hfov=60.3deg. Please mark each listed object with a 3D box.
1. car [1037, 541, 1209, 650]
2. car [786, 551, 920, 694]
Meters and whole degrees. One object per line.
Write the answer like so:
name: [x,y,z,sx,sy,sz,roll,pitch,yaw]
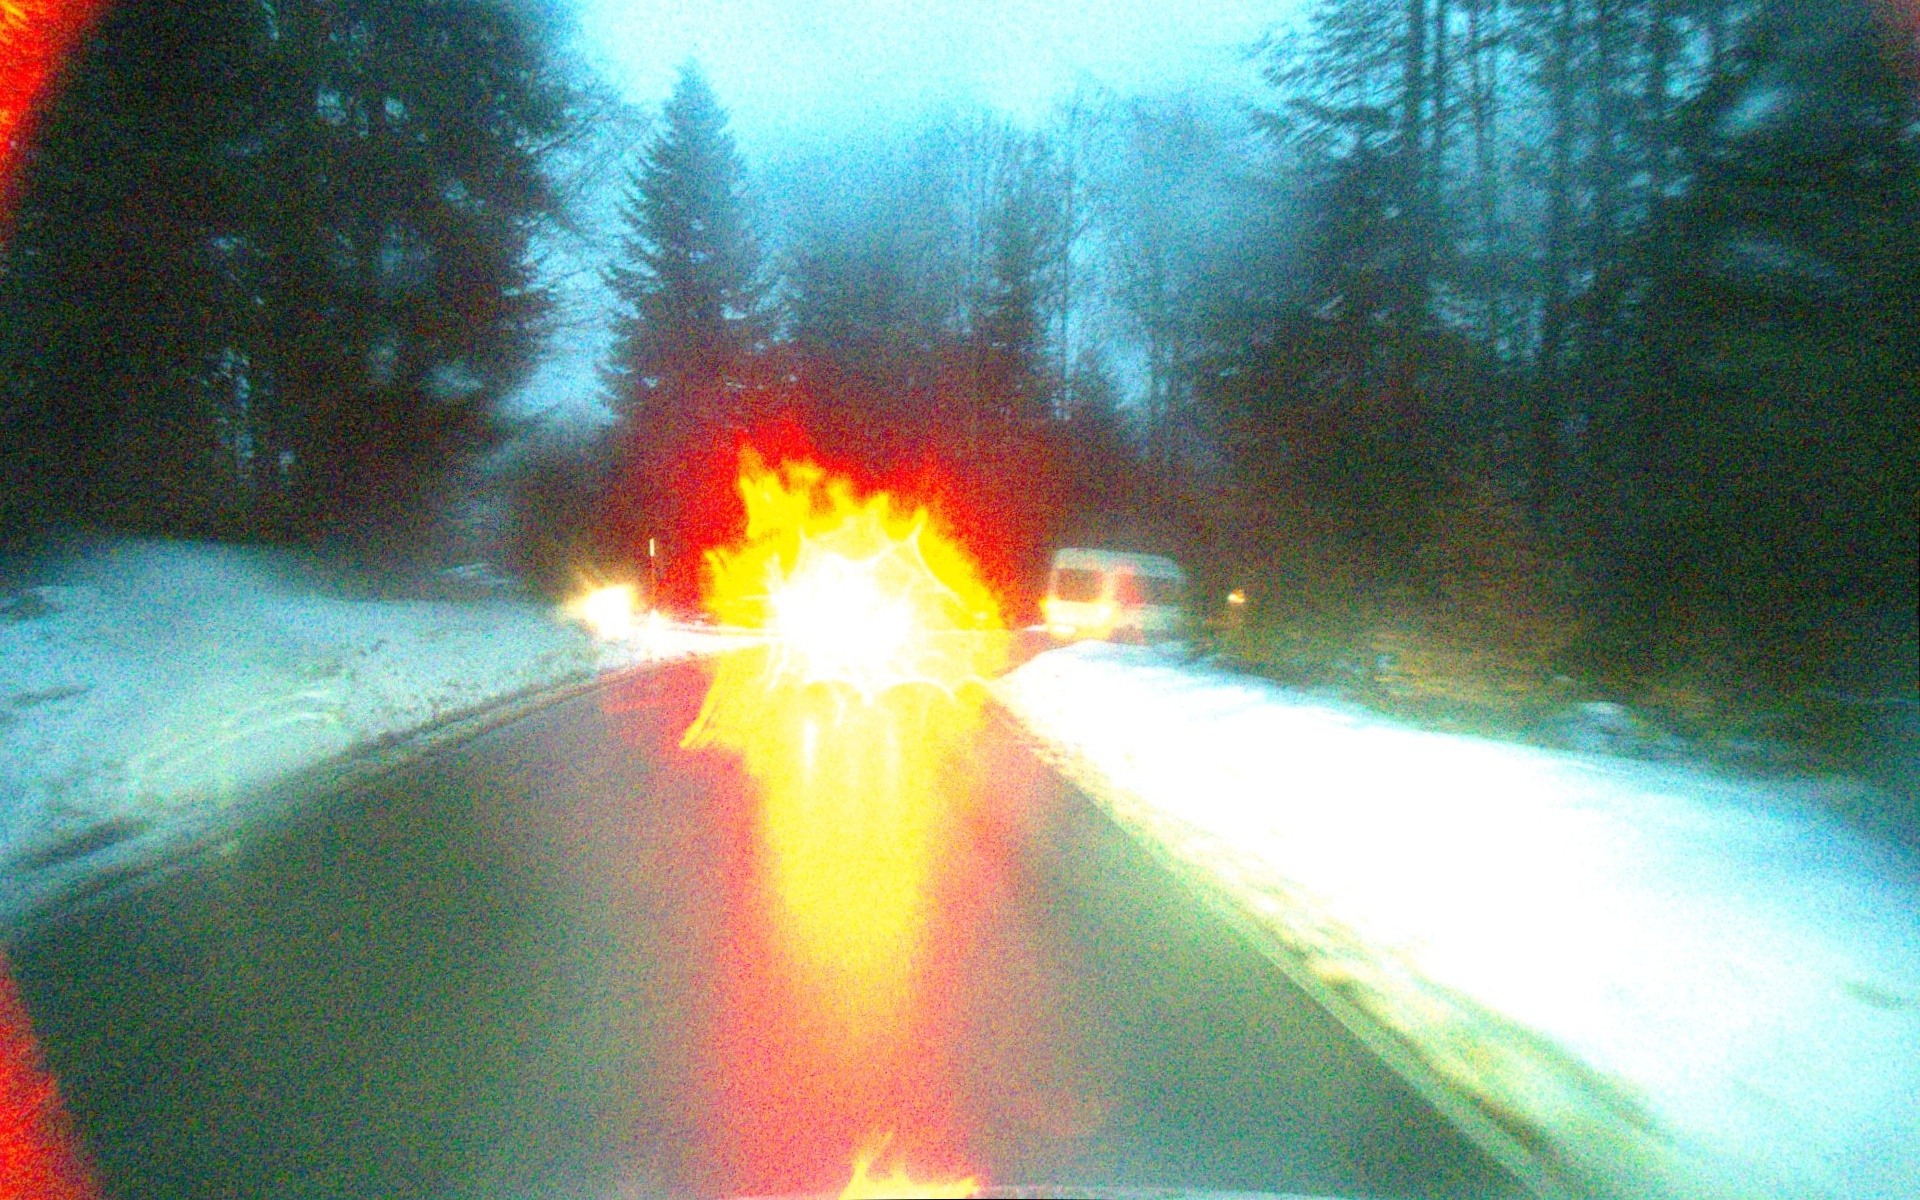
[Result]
car: [4.452,-0.137,44.434,2.216,2.691,4.984,4,2,37]
car: [-1.654,0.346,26.531,1.953,2.088,3.998,-1,0,-2]
